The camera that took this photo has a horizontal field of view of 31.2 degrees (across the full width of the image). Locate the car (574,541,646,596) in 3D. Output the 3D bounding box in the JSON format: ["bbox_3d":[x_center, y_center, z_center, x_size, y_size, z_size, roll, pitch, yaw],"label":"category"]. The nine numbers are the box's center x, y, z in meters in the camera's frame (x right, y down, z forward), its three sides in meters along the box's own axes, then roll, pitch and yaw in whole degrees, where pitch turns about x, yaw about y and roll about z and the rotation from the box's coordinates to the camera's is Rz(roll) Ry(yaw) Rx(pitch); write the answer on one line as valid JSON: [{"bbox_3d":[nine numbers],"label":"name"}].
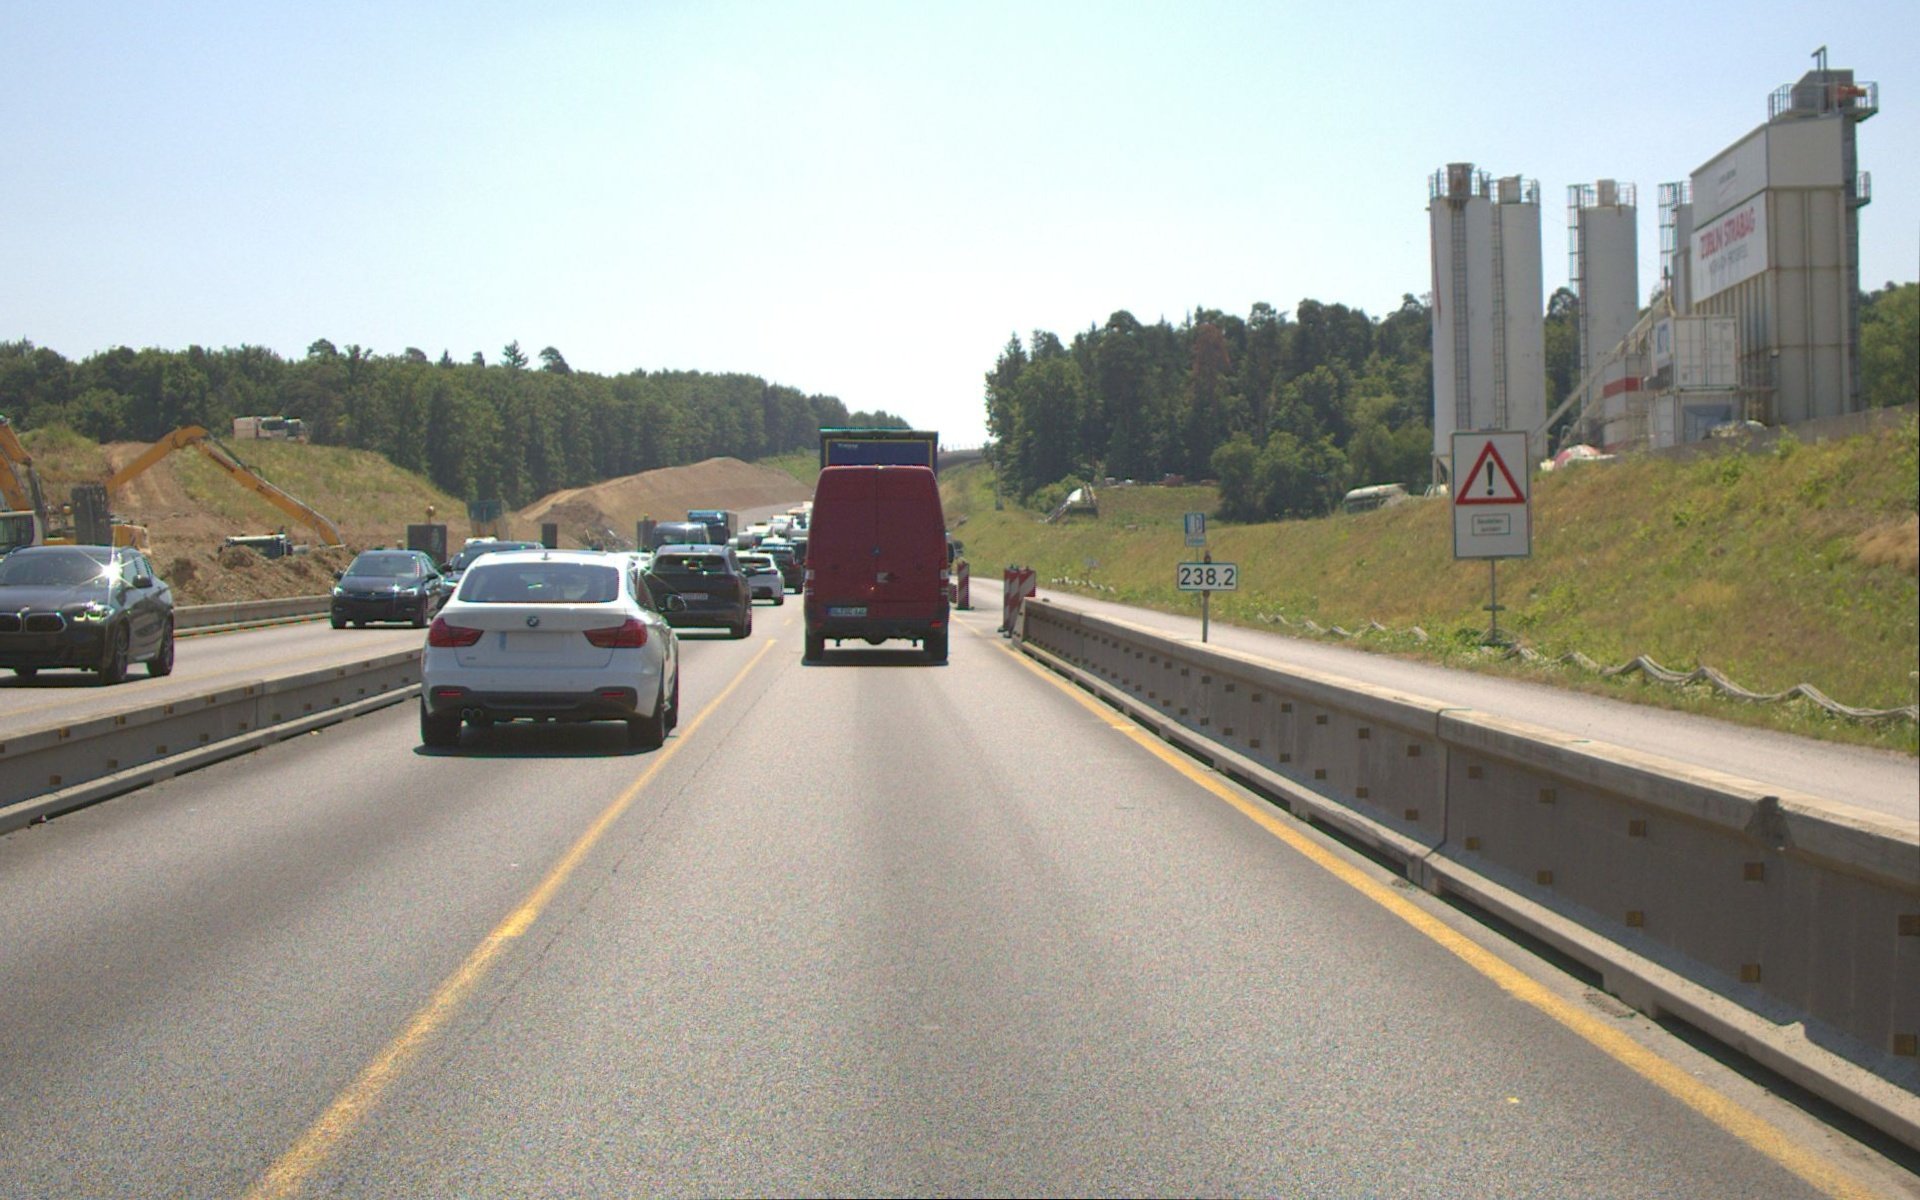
[{"bbox_3d":[-9.376,-0.865,92.378,1.678,1.437,4.672,-1,1,-3],"label":"car"}]

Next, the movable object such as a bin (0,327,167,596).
[{"bbox_3d":[-27.453,-3.977,100.478,7.637,7.687,3.446,-1,1,0],"label":"movable object such as a bin"}]

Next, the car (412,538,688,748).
[{"bbox_3d":[-3.195,0.278,27.642,1.795,1.529,5.074,0,1,-2],"label":"car"}]

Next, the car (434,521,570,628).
[{"bbox_3d":[-7.770,-0.468,58.707,1.771,1.735,5.039,-1,1,-1],"label":"car"}]

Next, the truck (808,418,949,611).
[{"bbox_3d":[-1.823,-1.921,78.394,3.015,4.138,8.273,-1,1,-1],"label":"truck"}]

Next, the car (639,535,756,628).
[{"bbox_3d":[-4.503,-0.347,59.495,1.795,1.529,3.931,-1,1,-1],"label":"car"}]

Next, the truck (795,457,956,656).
[{"bbox_3d":[-1.188,-0.633,48.830,2.111,2.624,6.485,-1,1,-1],"label":"truck"}]

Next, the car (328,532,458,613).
[{"bbox_3d":[-10.983,-0.559,66.826,1.860,1.495,4.577,-1,1,-1],"label":"car"}]

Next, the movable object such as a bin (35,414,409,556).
[{"bbox_3d":[-38.444,-6.007,179.769,18.709,7.206,3.616,-1,1,-3],"label":"movable object such as a bin"}]

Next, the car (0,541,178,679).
[{"bbox_3d":[-10.204,0.076,39.162,1.725,1.473,4.393,-1,1,-2],"label":"car"}]

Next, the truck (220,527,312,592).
[{"bbox_3d":[-29.088,-1.727,144.357,2.315,2.608,8.411,-1,1,-2],"label":"truck"}]

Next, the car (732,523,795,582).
[{"bbox_3d":[-6.806,-1.657,119.471,1.993,2.007,4.000,-1,1,-1],"label":"car"}]

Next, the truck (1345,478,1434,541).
[{"bbox_3d":[21.483,-4.507,171.718,2.899,3.102,6.005,0,1,23],"label":"truck"}]

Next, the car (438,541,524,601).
[{"bbox_3d":[-12.025,-0.745,86.507,1.652,1.437,4.227,-1,1,-1],"label":"car"}]
